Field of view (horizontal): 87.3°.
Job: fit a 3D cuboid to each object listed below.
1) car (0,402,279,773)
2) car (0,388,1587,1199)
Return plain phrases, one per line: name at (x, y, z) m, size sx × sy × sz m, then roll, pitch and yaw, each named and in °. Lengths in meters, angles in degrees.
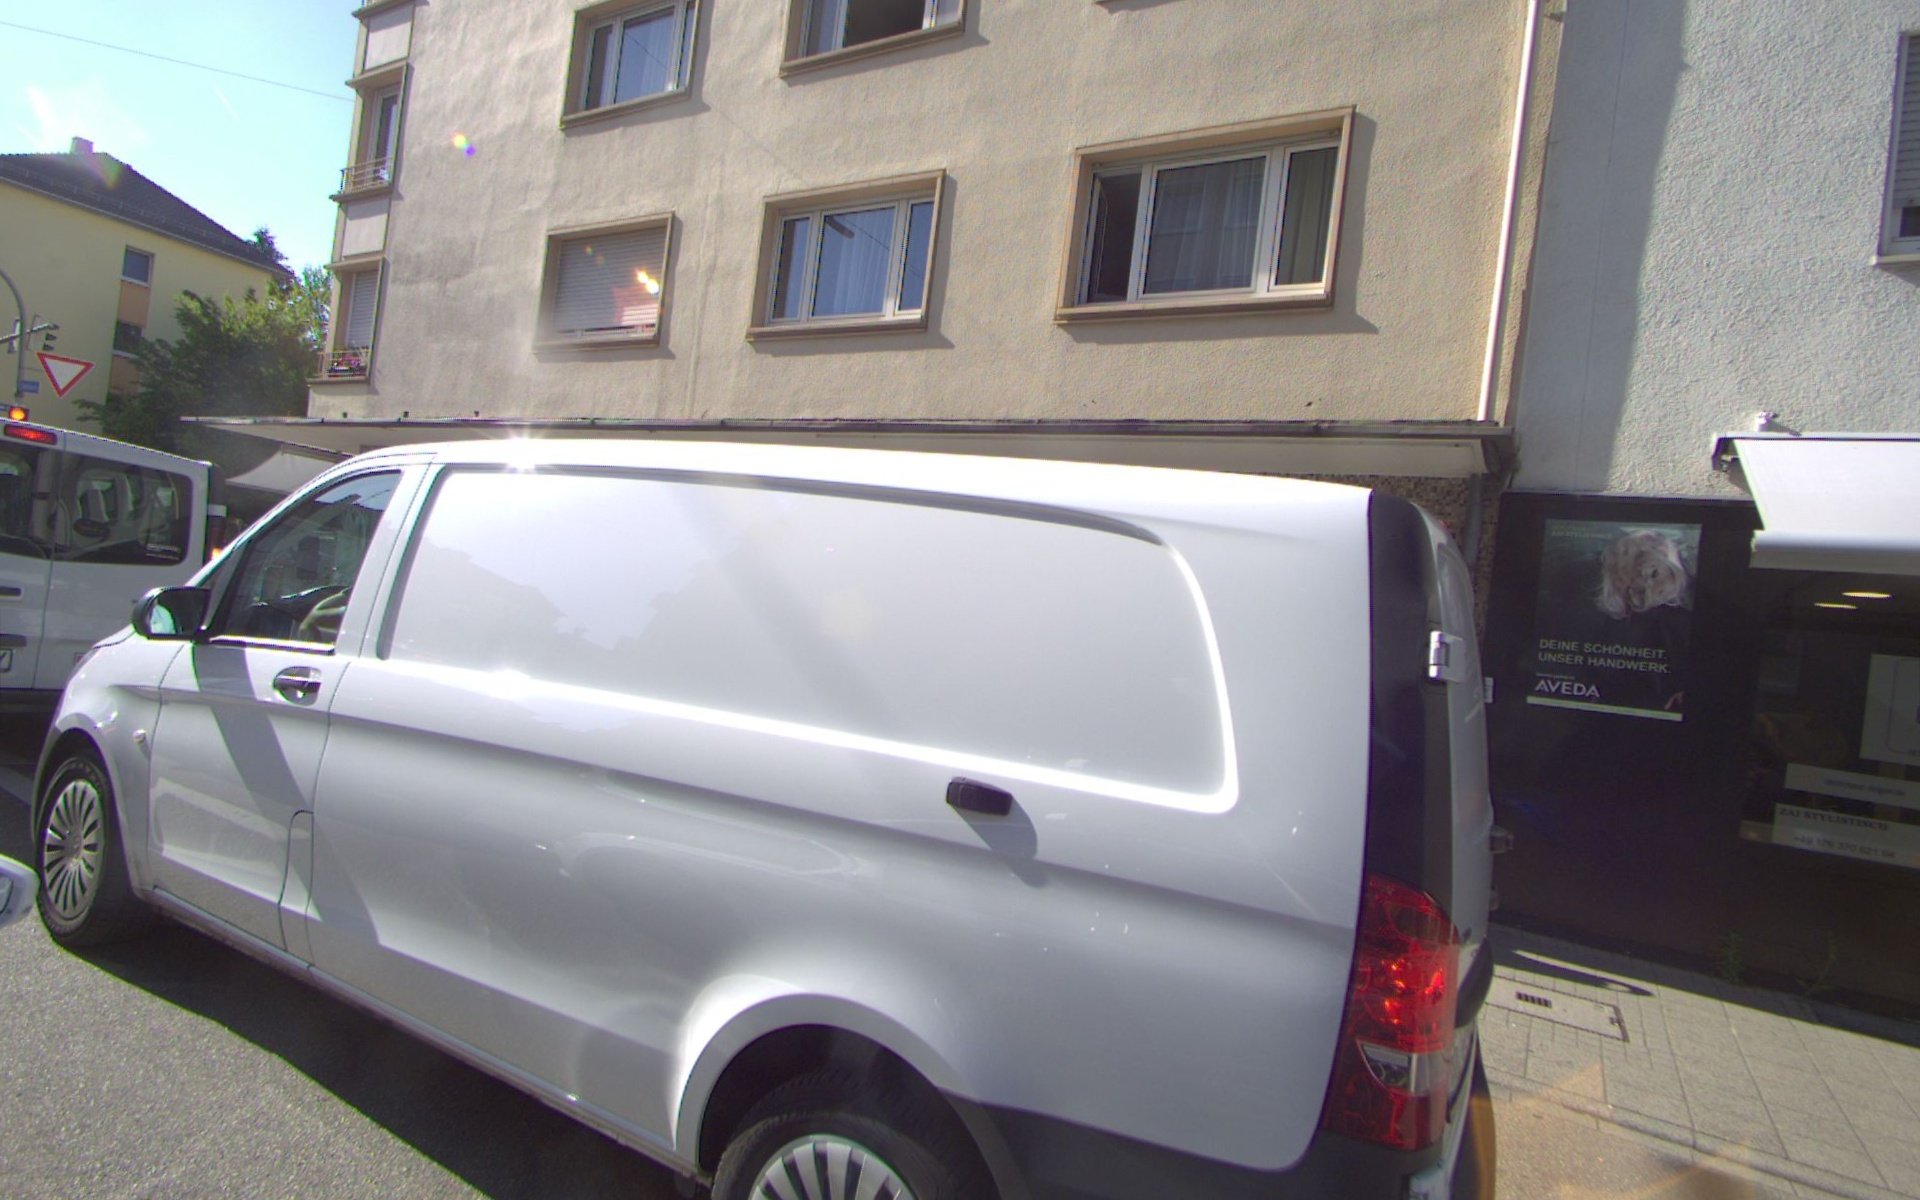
car at (-7.115, -0.264, 6.923) m, size 4.813 × 2.001 × 1.998 m, roll 7°, pitch -2°, yaw 31°
car at (-1.012, 0.495, 3.297) m, size 4.910 × 1.891 × 1.840 m, roll 7°, pitch -1°, yaw 29°
